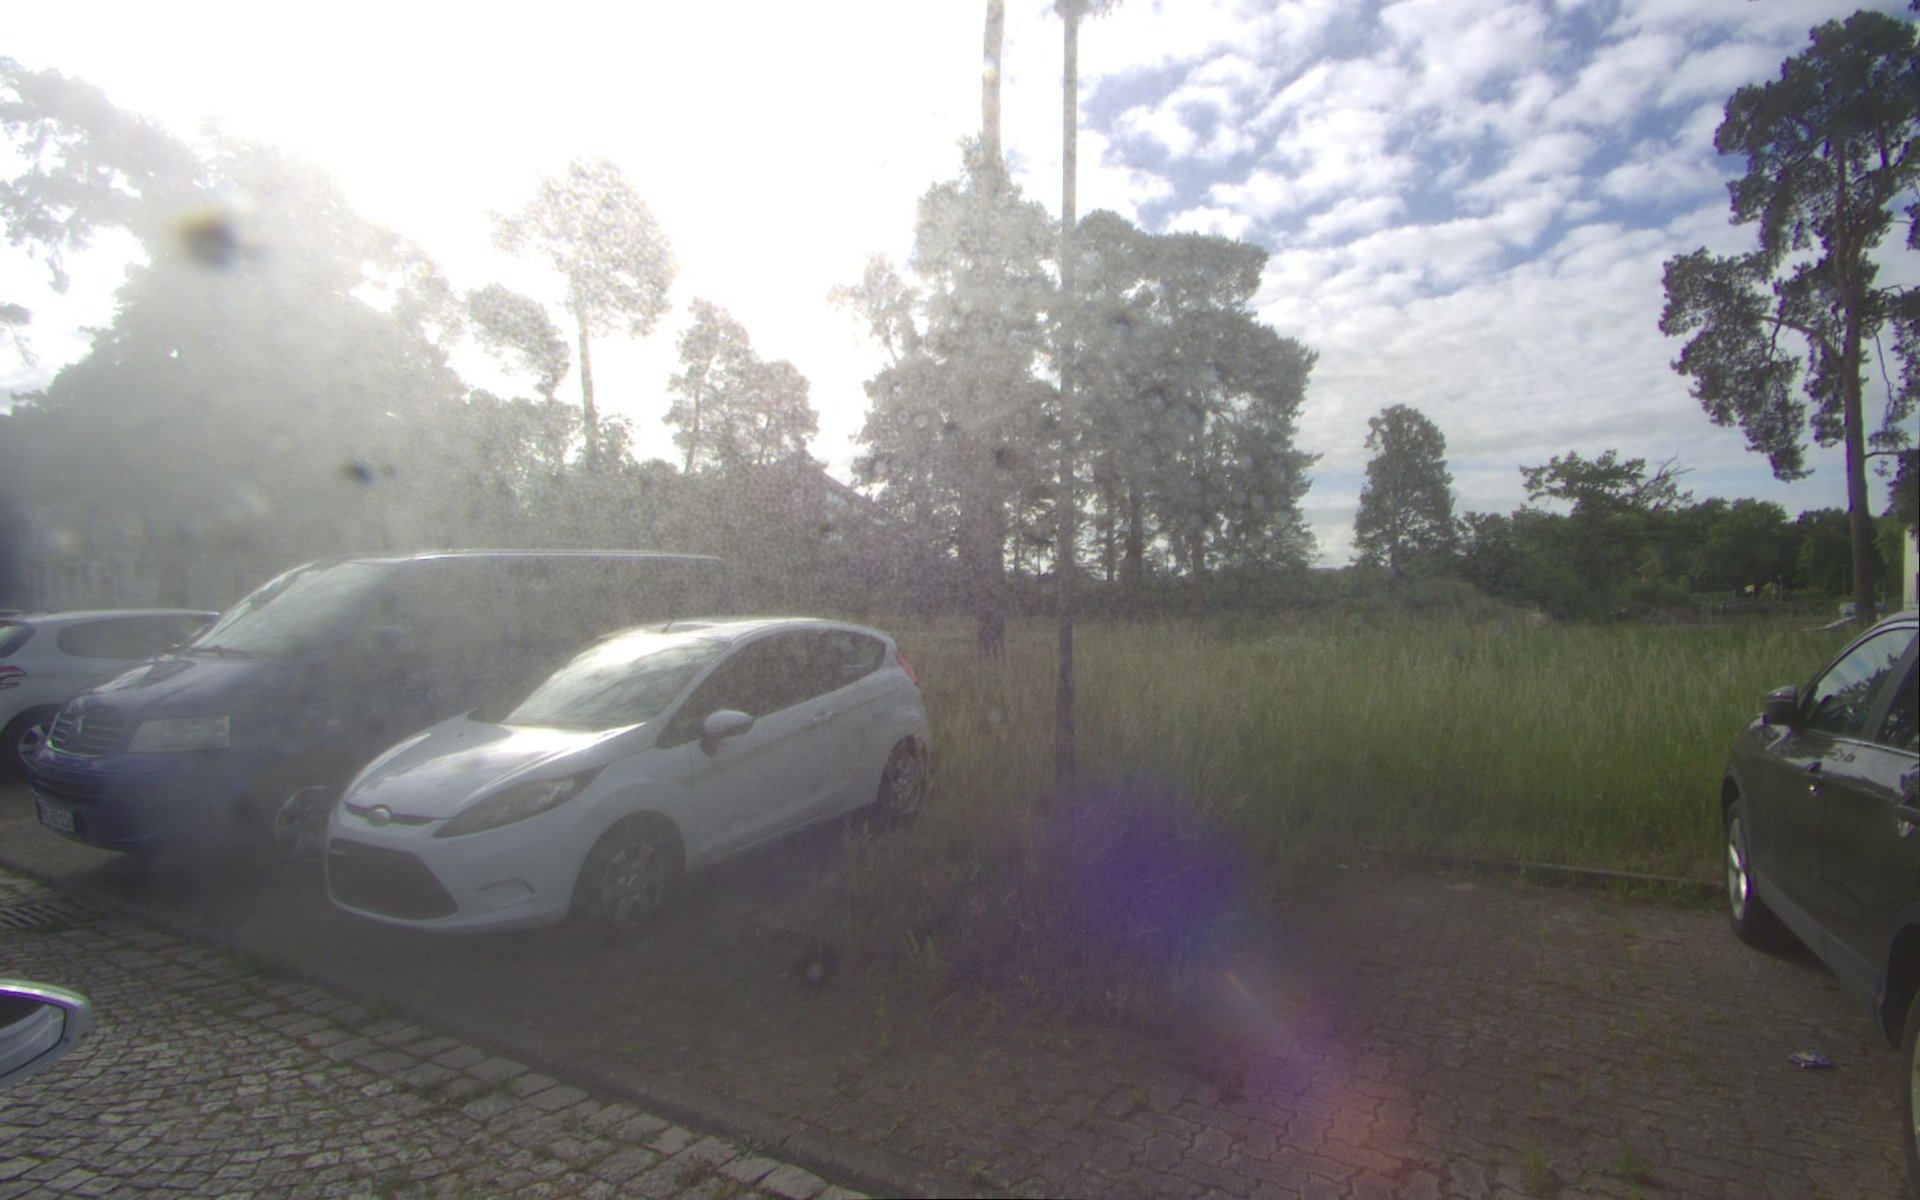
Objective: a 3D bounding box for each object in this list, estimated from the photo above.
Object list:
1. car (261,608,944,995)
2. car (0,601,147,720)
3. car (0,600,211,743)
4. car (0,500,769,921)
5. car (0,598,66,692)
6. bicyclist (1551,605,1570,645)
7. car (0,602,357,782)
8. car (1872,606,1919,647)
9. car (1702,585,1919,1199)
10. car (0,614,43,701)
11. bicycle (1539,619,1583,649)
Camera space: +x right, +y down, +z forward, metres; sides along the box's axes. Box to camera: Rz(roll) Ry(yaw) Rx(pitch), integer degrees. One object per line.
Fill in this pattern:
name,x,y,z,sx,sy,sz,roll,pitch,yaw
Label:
car,-1.705,0.819,5.991,1.629,1.443,3.718,1,1,28
car,-13.111,0.781,13.249,1.635,1.524,3.296,1,0,20
car,-10.932,0.767,11.365,1.635,1.526,3.602,1,0,20
car,-3.648,0.566,7.420,1.712,2.067,4.776,1,0,30
car,-17.160,0.732,16.005,1.637,1.564,3.987,1,0,25
bicyclist,30.530,1.280,50.894,0.836,2.039,0.656,0,-1,32
car,-8.242,0.796,10.161,1.638,1.524,3.289,1,0,29
car,41.724,1.131,42.349,4.338,1.723,1.965,-1,-2,32
car,3.665,0.780,3.019,1.735,1.601,3.947,1,0,29
car,-15.589,0.864,14.318,1.637,1.284,3.292,1,0,25
bicycle,30.540,1.729,50.887,1.906,1.499,0.652,0,-1,32
